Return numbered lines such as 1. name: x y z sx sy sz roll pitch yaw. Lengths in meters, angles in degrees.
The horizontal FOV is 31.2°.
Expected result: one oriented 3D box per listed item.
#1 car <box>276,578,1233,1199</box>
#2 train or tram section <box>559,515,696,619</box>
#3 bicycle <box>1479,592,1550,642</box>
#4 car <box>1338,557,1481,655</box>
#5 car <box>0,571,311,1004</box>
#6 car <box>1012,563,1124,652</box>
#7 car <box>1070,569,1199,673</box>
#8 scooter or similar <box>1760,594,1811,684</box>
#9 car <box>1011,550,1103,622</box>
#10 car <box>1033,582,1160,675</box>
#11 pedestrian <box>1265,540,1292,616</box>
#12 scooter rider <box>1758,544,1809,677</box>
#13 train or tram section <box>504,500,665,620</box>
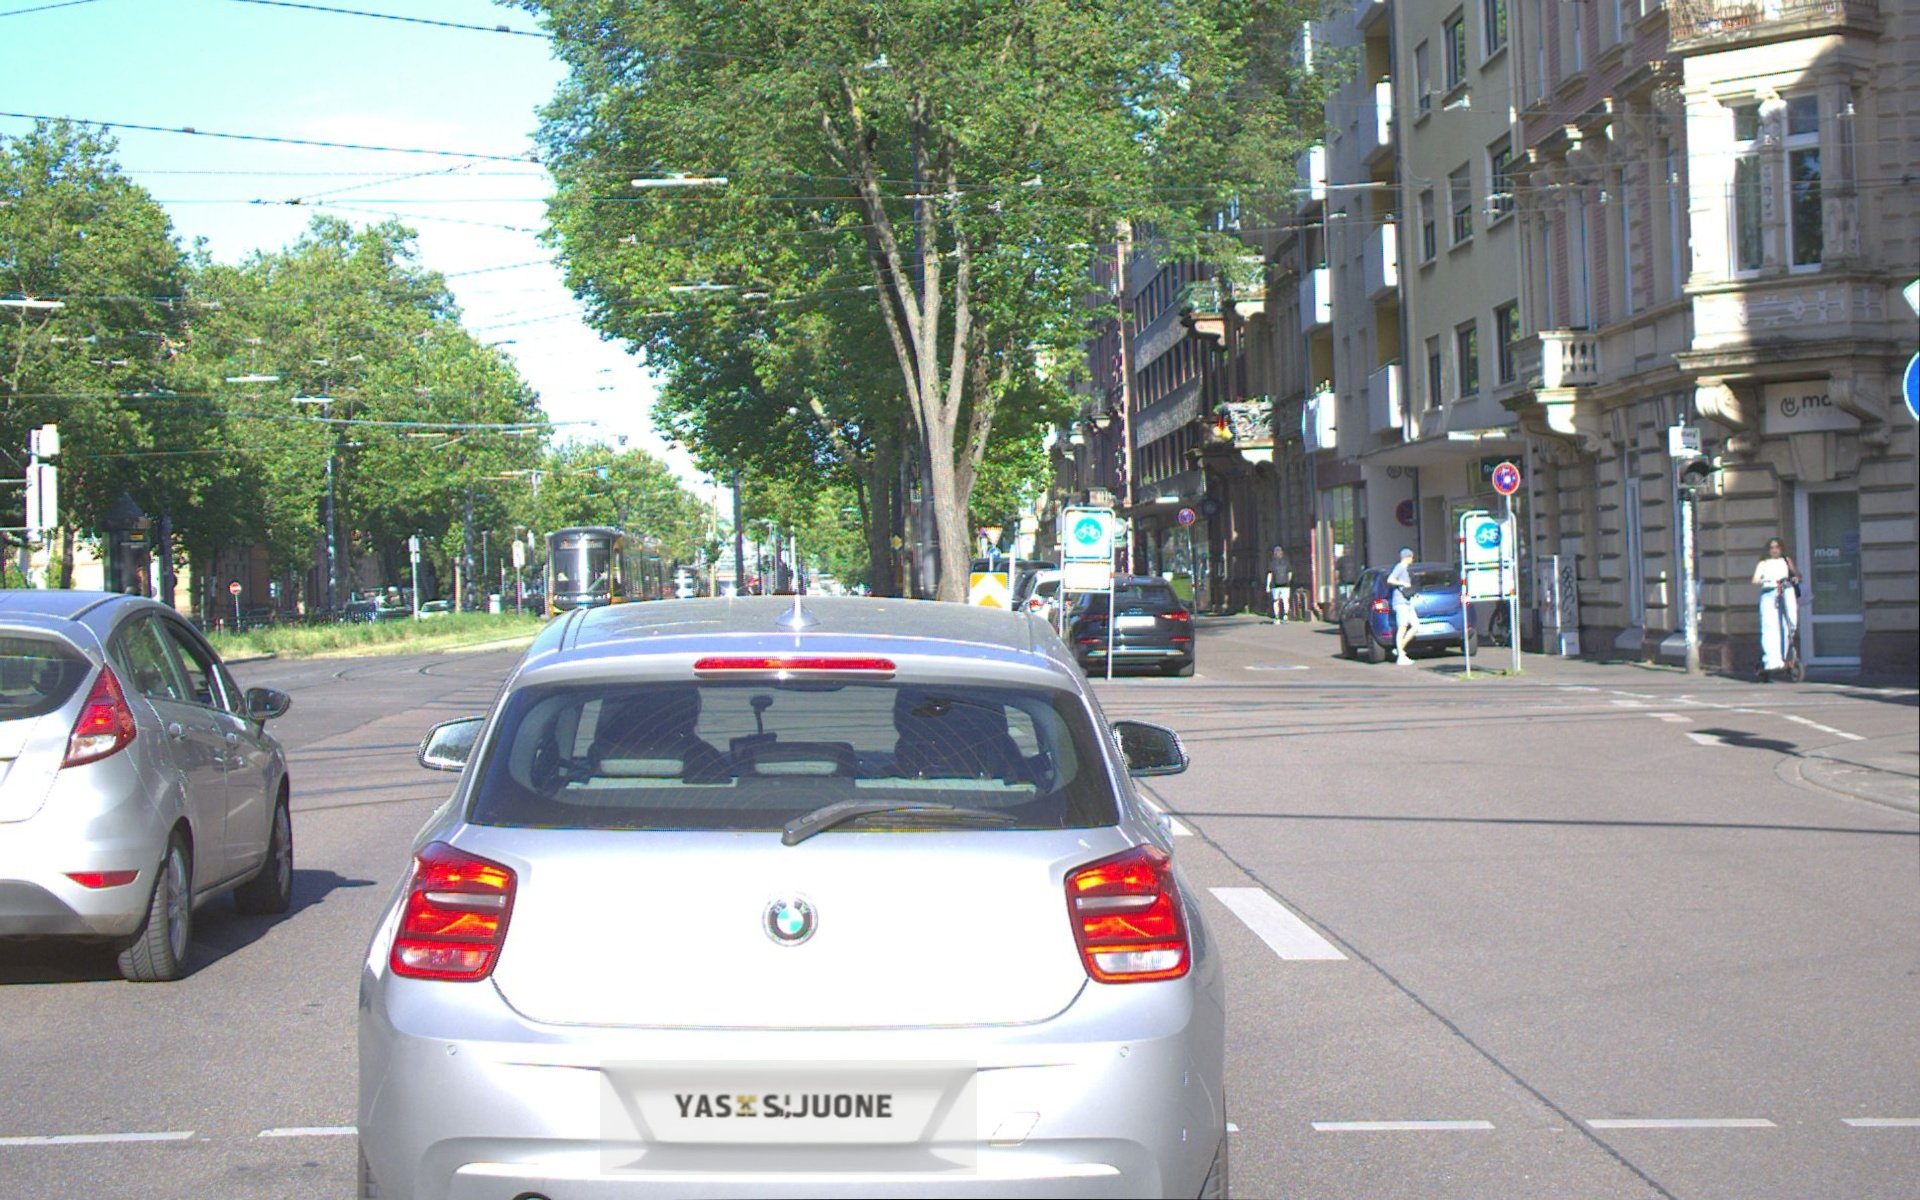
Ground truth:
1. car: -0.410 0.687 8.263 1.740 1.462 4.000 0 1 -1
2. train or tram section: -13.283 -1.351 139.101 4.005 3.852 17.489 -1 1 -1
3. bicycle: 8.989 0.266 55.792 0.754 0.768 1.945 -1 1 -2
4. car: 7.221 0.076 55.482 1.735 1.514 3.637 0 1 -2
5. car: -3.674 0.641 13.726 1.609 1.462 3.890 -1 1 -3
6. car: 1.882 0.110 60.762 1.724 1.502 3.555 0 1 -2
7. car: 2.482 0.278 49.574 1.735 1.428 3.678 0 1 1
8. scooter or similar: 9.503 0.440 39.594 0.337 0.984 1.284 -2 1 4
9. car: 2.062 -0.315 73.589 1.724 1.502 3.555 0 1 -2
10. car: 2.152 0.432 55.069 1.743 1.428 3.555 0 1 -2
11. pedestrian: 7.589 -0.530 81.966 0.505 1.796 0.805 -2 1 -1
12. scooter rider: 9.496 0.115 39.657 0.465 1.500 0.811 -2 1 8
13. train or tram section: -13.066 -1.401 121.567 3.969 3.852 17.489 -1 1 -1
